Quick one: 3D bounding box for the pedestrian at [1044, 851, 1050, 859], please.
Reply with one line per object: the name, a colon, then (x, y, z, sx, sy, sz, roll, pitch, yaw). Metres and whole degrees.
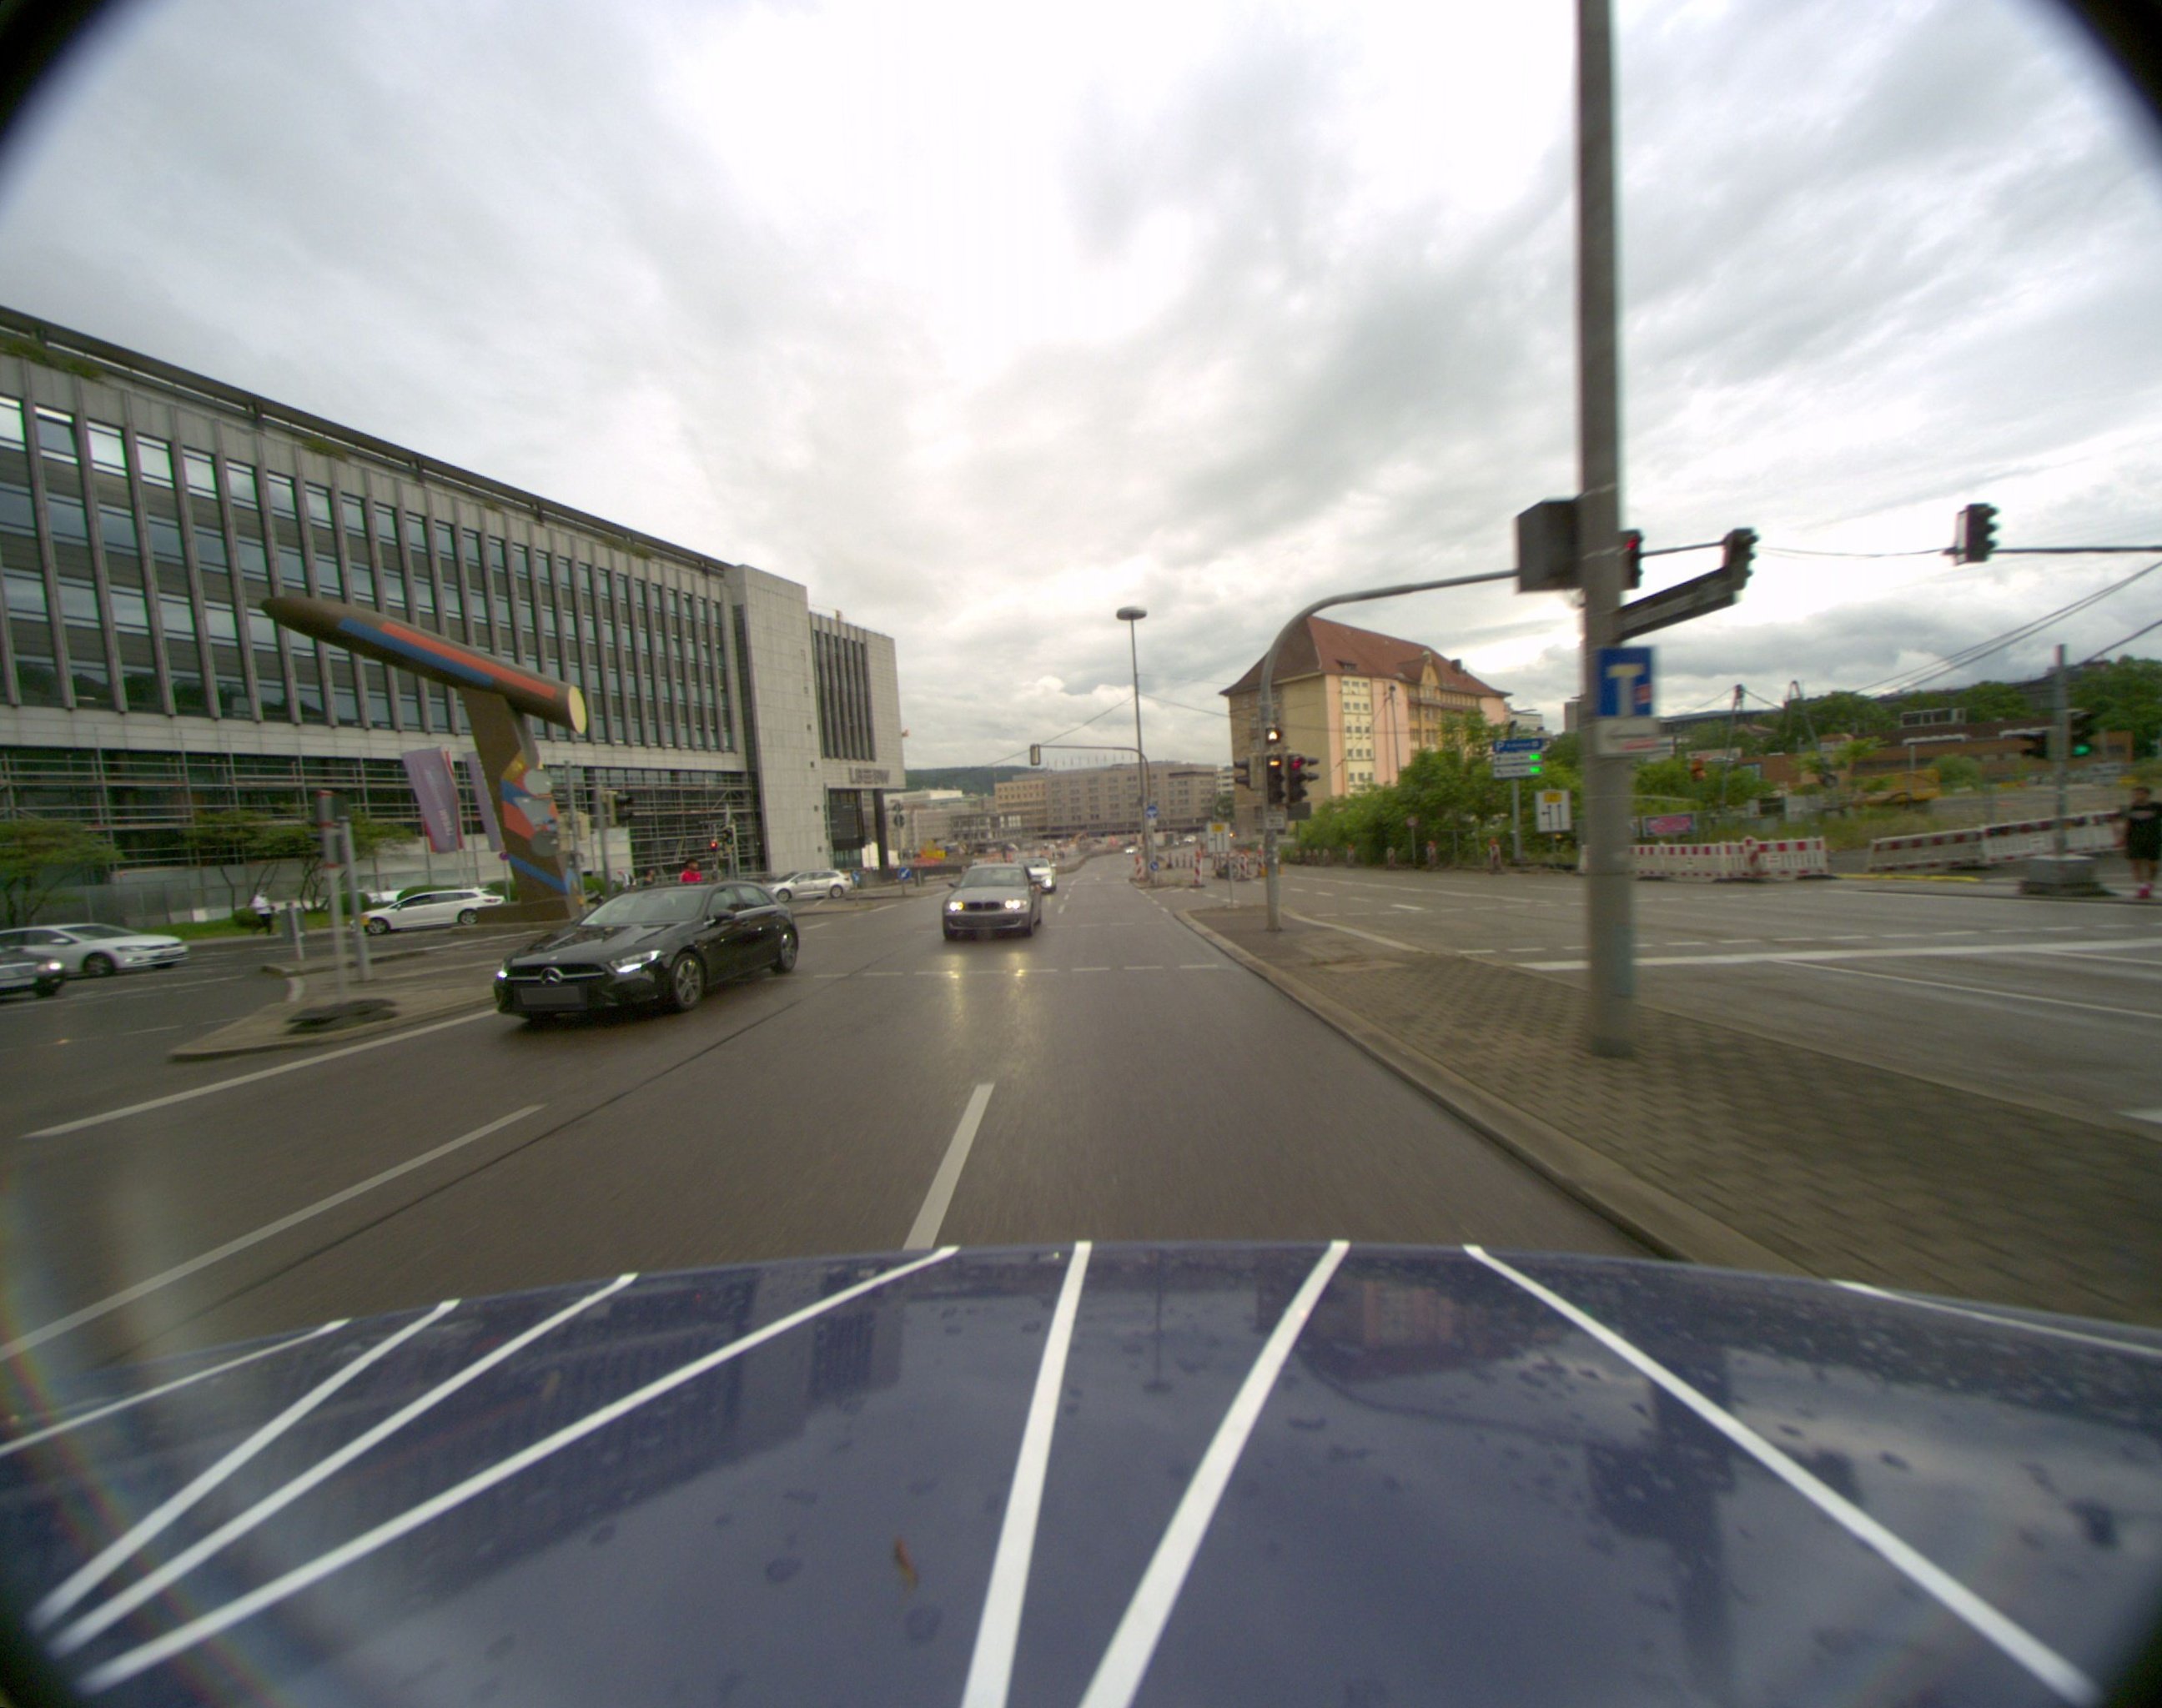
pedestrian: (-6.248, 0.174, 139.543, 0.609, 1.514, 0.886, -2, 3, 21)

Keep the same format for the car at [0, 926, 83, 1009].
car: (-22.824, 2.361, 15.015, 4.706, 1.434, 1.868, -3, 3, 13)

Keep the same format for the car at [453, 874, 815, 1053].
car: (-5.020, 1.116, 9.384, 1.759, 1.399, 4.227, -4, 1, 2)

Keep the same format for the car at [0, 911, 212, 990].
car: (-25.884, 2.502, 19.699, 4.000, 1.434, 1.864, -5, 4, -9)

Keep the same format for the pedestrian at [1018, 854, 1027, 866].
pedestrian: (-7.803, 0.780, 101.193, 0.732, 1.566, 0.806, -3, 3, 29)

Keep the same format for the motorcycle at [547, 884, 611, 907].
motorcycle: (-24.383, 1.995, 36.903, 2.571, 1.074, 0.634, 0, 0, -6)

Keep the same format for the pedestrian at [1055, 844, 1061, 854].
pedestrian: (-4.549, -1.021, 150.390, 0.867, 1.808, 1.009, -2, 3, 21)

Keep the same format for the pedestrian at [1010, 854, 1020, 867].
pedestrian: (-8.748, 0.839, 101.176, 0.861, 1.585, 0.953, -2, 3, 29)

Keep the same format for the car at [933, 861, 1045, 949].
car: (-1.767, 0.949, 15.878, 1.744, 1.435, 4.000, -3, 1, 0)

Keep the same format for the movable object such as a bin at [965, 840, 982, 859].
movable object such as a bin: (-20.765, -0.900, 146.841, 1.941, 3.390, 4.231, -3, 3, 9)

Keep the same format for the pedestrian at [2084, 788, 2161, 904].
pedestrian: (17.760, -0.144, 12.809, 0.743, 1.870, 0.746, -4, 3, -8)

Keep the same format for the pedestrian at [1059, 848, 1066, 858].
pedestrian: (-3.787, -0.184, 153.540, 0.818, 1.839, 0.933, -1, 4, 38)

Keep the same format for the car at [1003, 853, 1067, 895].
car: (-1.900, 0.820, 32.540, 1.968, 1.539, 4.220, -3, 0, 6)

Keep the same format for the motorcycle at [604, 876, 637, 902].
motorcycle: (-23.557, 1.780, 38.907, 1.244, 1.263, 0.619, -2, 1, -6)

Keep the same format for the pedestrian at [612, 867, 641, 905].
pedestrian: (-22.098, 1.549, 36.928, 0.731, 1.702, 0.843, -3, 3, 1)

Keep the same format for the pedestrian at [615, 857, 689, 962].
pedestrian: (-8.103, 1.034, 14.379, 0.841, 1.894, 0.733, -2, 3, 27)

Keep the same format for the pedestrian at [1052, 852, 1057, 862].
pedestrian: (-4.588, 0.450, 130.830, 0.648, 1.624, 0.907, -3, 3, 2)

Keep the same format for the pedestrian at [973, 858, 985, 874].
pedestrian: (-10.892, 1.314, 80.970, 0.730, 1.643, 1.062, -2, 2, 29)

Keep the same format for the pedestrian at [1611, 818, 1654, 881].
pedestrian: (17.350, -0.165, 23.915, 0.762, 1.912, 0.742, -3, 3, 4)

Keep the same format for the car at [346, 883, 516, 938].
car: (-24.841, 2.114, 29.281, 4.586, 1.624, 1.773, -3, 0, -26)

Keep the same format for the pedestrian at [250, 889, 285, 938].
pedestrian: (-32.183, 2.337, 30.069, 0.968, 1.808, 0.782, -1, 4, 42)

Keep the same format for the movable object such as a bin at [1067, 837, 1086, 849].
movable object such as a bin: (-1.022, -2.608, 183.625, 4.134, 2.522, 1.995, -5, 3, -33)

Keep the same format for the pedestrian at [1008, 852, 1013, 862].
pedestrian: (-12.502, 0.566, 135.278, 0.567, 1.739, 0.495, -2, 3, 20)

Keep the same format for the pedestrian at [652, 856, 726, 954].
pedestrian: (-8.035, 1.038, 15.603, 0.841, 1.894, 0.862, -3, 3, 27)

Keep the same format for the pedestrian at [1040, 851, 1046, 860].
pedestrian: (-6.974, 0.222, 139.602, 0.715, 1.545, 1.009, -2, 3, 21)

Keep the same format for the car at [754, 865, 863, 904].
car: (-13.201, 1.449, 37.053, 1.702, 1.443, 4.623, -2, 2, 45)

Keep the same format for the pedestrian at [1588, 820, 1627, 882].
pedestrian: (16.606, -0.104, 23.986, 0.673, 1.891, 0.775, -3, 3, 4)

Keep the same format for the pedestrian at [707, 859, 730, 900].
pedestrian: (-19.318, 1.351, 40.481, 0.856, 2.086, 0.903, -6, 1, -22)

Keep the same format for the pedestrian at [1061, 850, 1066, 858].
pedestrian: (-3.625, -0.060, 154.874, 0.647, 1.545, 0.767, -1, 4, 38)
